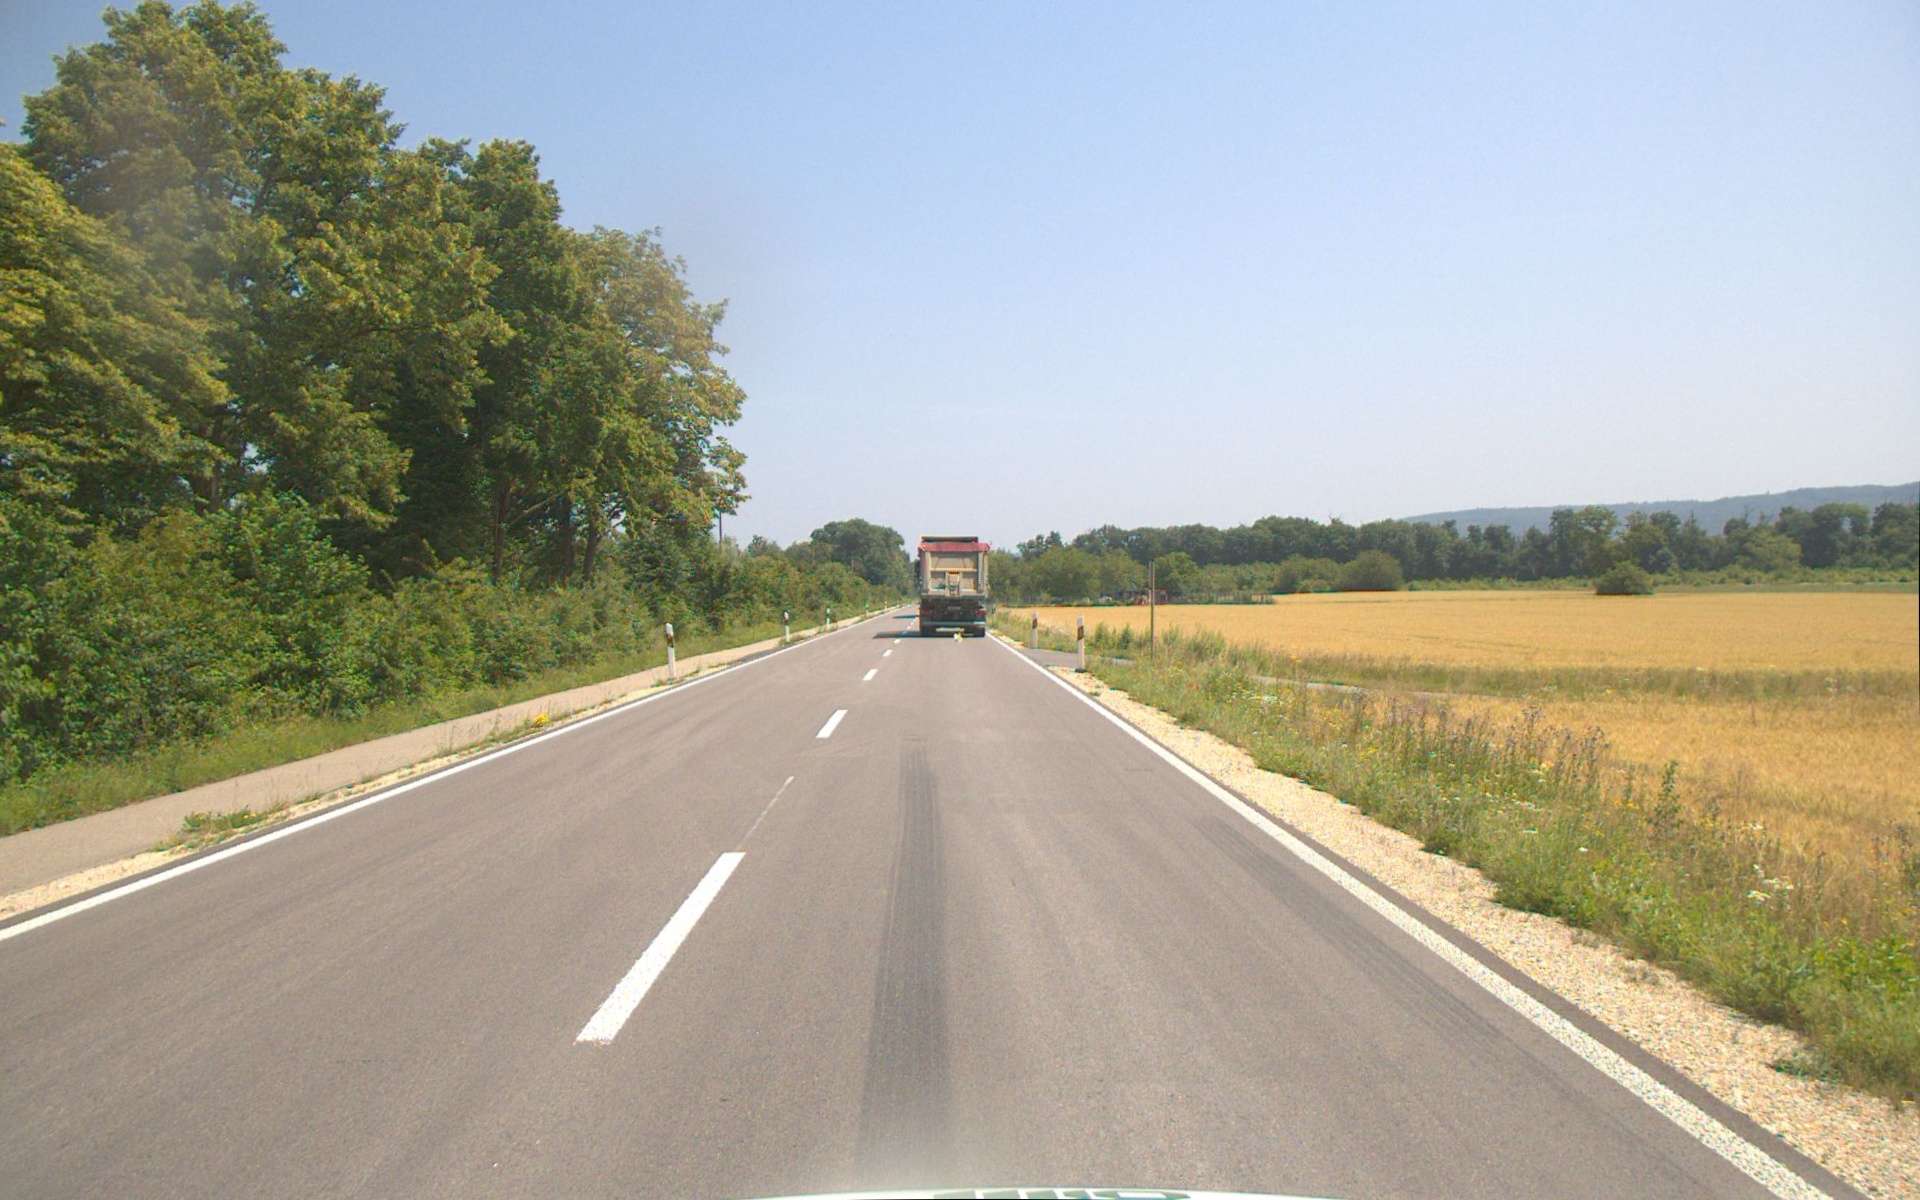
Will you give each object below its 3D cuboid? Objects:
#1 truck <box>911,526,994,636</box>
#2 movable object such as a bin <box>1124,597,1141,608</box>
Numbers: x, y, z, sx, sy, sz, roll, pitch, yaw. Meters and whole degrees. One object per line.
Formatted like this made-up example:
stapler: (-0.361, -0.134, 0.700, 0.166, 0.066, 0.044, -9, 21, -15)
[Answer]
truck: (-0.369, -0.661, 65.724, 2.948, 3.942, 12.206, 1, 0, -1)
movable object such as a bin: (23.039, 0.341, 221.368, 1.540, 1.522, 3.655, -1, 0, -5)
